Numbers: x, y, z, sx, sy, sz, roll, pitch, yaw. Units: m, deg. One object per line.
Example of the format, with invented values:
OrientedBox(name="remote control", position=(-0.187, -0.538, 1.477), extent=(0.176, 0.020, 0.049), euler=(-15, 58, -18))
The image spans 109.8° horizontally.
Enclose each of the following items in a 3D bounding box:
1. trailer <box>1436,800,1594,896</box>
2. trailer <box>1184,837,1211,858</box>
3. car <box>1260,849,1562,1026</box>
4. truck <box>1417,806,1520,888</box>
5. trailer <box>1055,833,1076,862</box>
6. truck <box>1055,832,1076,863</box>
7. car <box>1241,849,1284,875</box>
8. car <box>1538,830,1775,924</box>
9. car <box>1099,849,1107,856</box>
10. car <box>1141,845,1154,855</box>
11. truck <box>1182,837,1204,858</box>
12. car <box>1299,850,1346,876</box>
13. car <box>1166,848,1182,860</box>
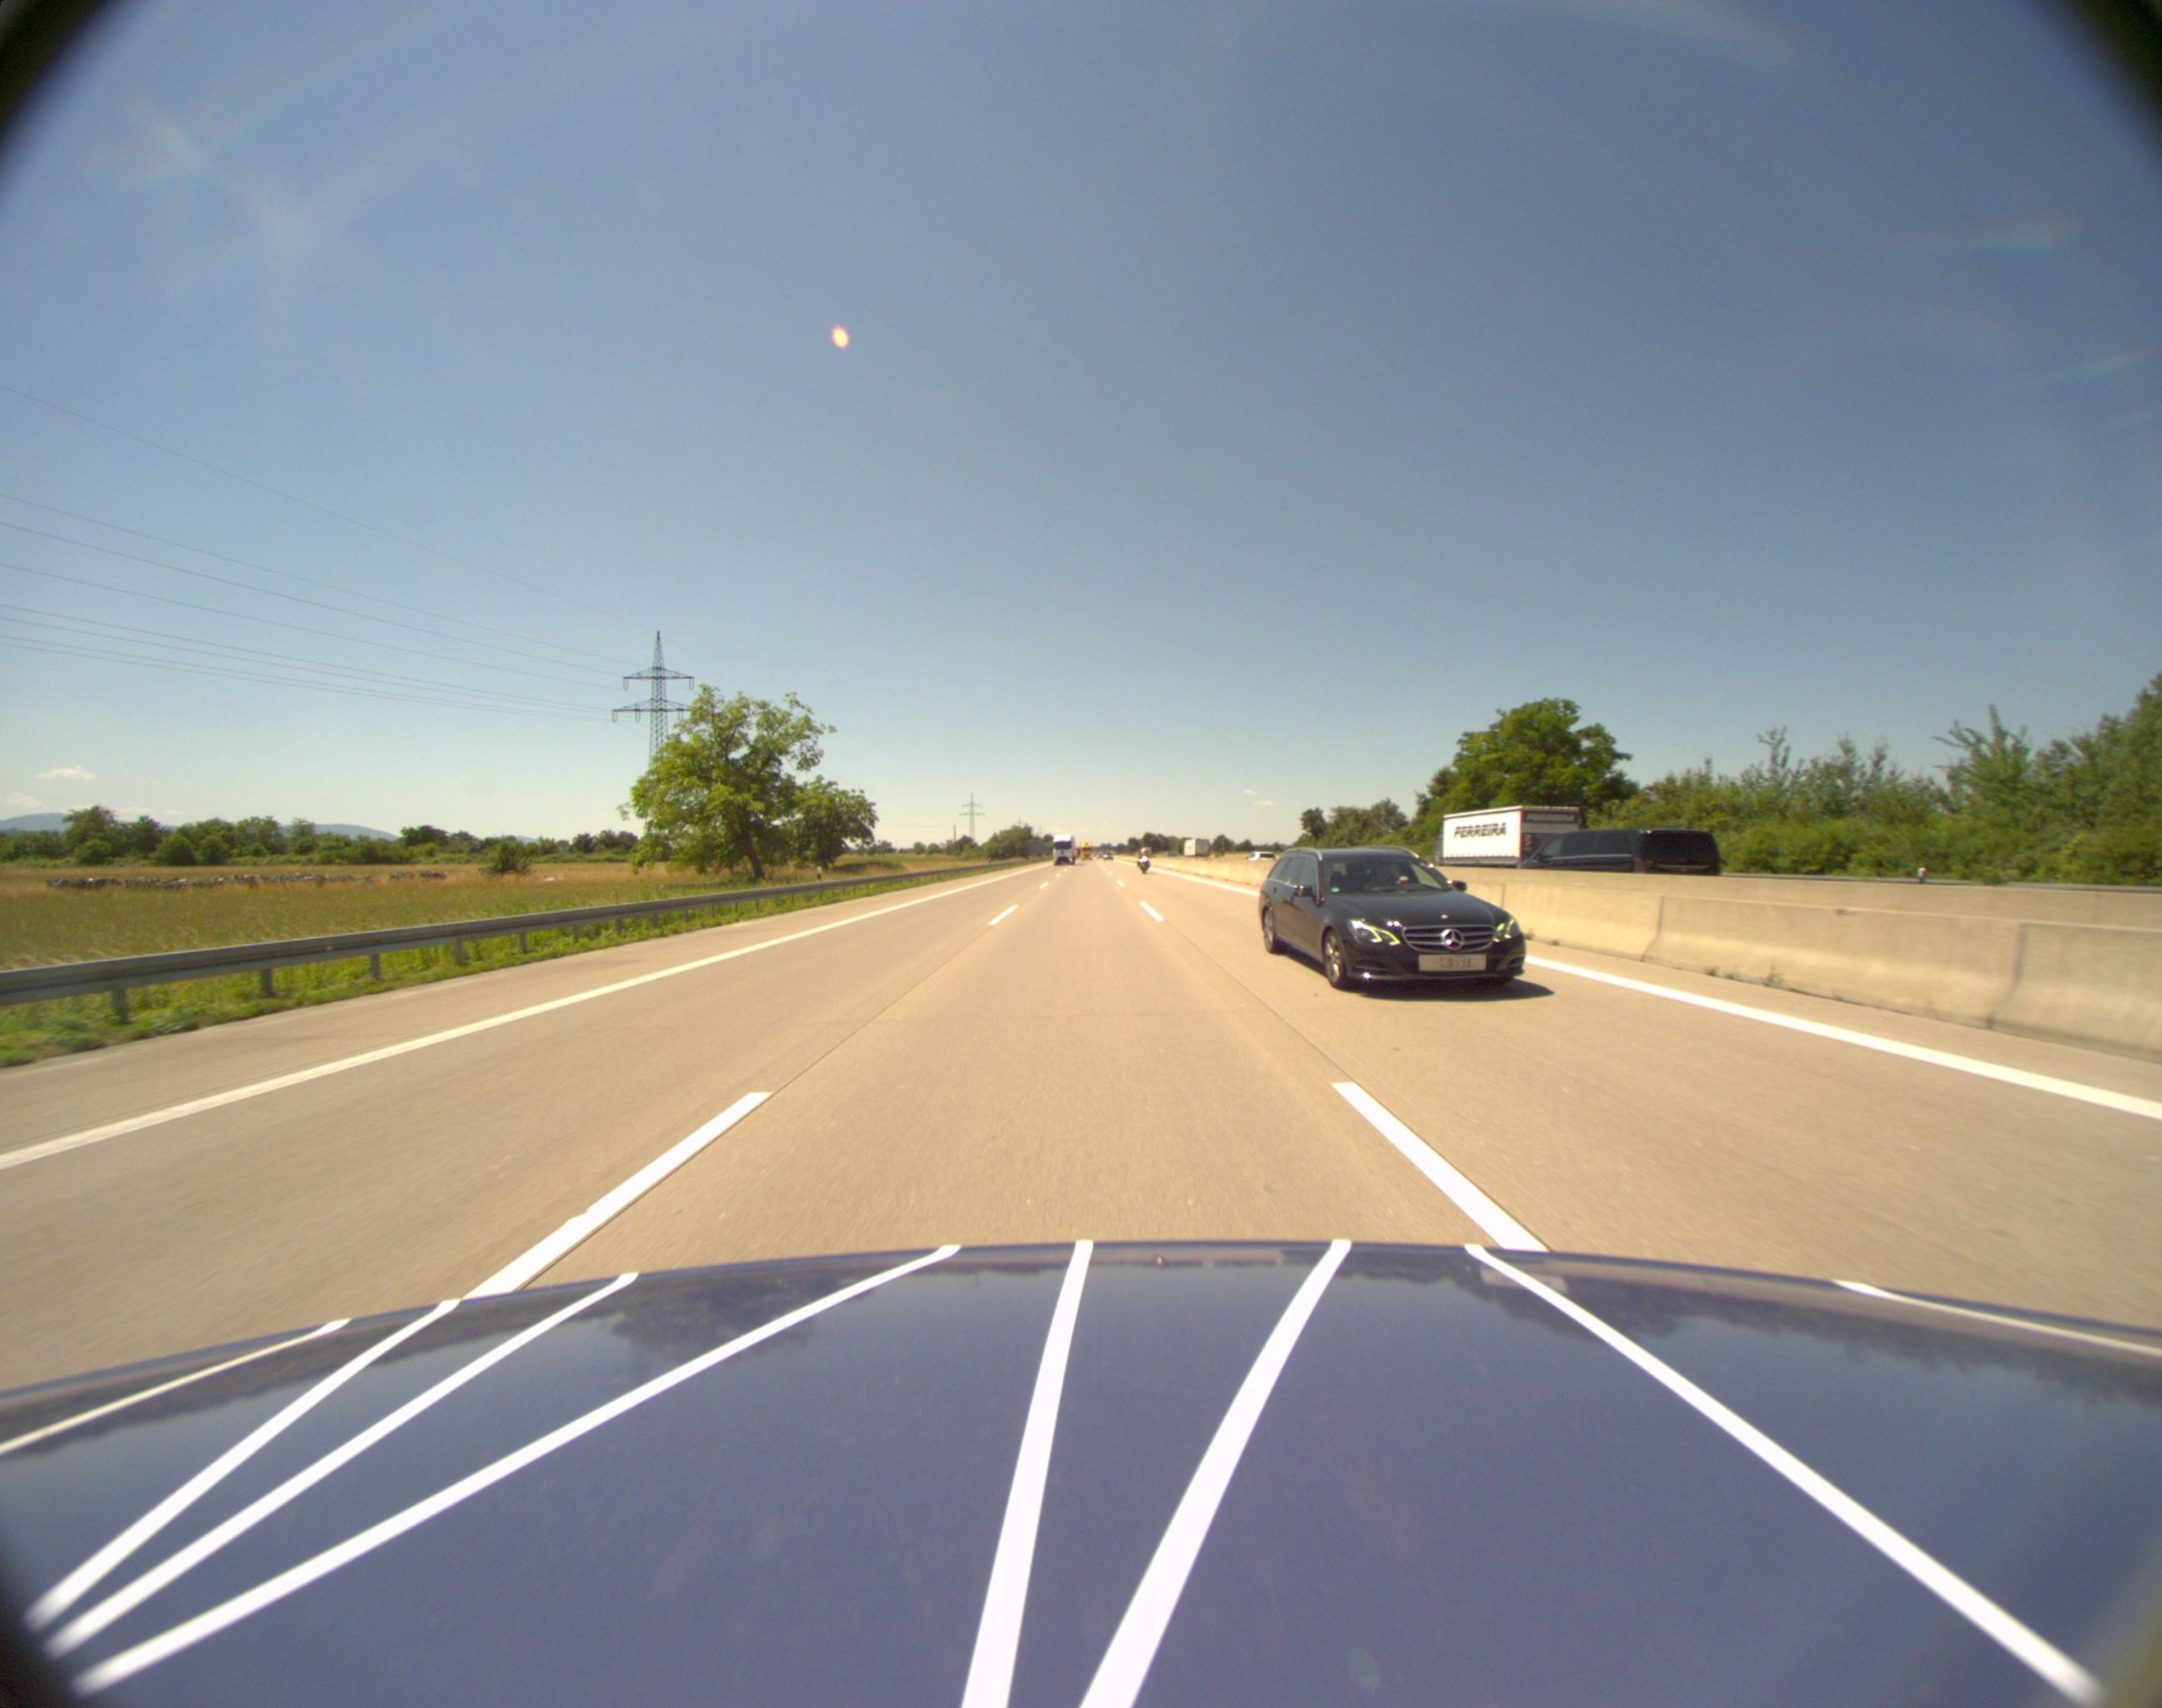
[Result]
OrientedBox(name="trailer", position=(20.936, -0.253, 37.431), extent=(2.960, 4.081, 8.484), euler=(-2, 0, 1))
OrientedBox(name="trailer", position=(22.221, -1.178, 145.733), extent=(3.169, 3.815, 14.030), euler=(-2, 0, 0))
OrientedBox(name="car", position=(3.516, 0.768, 8.992), extent=(1.848, 1.576, 3.940), euler=(-2, 0, 1))
OrientedBox(name="truck", position=(20.967, -0.357, 41.417), extent=(2.960, 4.103, 5.085), euler=(-2, 0, 1))
OrientedBox(name="trailer", position=(-2.050, -0.885, 106.644), extent=(2.587, 3.855, 10.372), euler=(-2, 0, 0))
OrientedBox(name="truck", position=(-2.053, -0.858, 101.622), extent=(2.587, 3.855, 4.984), euler=(-2, 0, 0))
OrientedBox(name="car", position=(13.545, 0.580, 57.029), extent=(1.998, 1.747, 5.157), euler=(-2, 0, 1))
OrientedBox(name="car", position=(12.668, 0.451, 17.191), extent=(1.998, 1.785, 4.466), euler=(-2, 0, 1))
OrientedBox(name="car", position=(6.380, -0.465, 217.795), extent=(1.999, 1.827, 4.815), euler=(-2, 0, -2))
OrientedBox(name="car", position=(14.629, -0.846, 166.927), extent=(2.074, 2.002, 5.980), euler=(-2, 0, -1))
OrientedBox(name="truck", position=(22.258, -1.229, 151.641), extent=(3.169, 3.886, 8.372), euler=(-2, 0, 0))
OrientedBox(name="car", position=(17.635, 0.636, 55.716), extent=(1.998, 1.747, 4.715), euler=(-2, 0, 1))
OrientedBox(name="car", position=(14.448, 0.039, 118.732), extent=(1.933, 1.783, 4.396), euler=(-2, 0, 0))
